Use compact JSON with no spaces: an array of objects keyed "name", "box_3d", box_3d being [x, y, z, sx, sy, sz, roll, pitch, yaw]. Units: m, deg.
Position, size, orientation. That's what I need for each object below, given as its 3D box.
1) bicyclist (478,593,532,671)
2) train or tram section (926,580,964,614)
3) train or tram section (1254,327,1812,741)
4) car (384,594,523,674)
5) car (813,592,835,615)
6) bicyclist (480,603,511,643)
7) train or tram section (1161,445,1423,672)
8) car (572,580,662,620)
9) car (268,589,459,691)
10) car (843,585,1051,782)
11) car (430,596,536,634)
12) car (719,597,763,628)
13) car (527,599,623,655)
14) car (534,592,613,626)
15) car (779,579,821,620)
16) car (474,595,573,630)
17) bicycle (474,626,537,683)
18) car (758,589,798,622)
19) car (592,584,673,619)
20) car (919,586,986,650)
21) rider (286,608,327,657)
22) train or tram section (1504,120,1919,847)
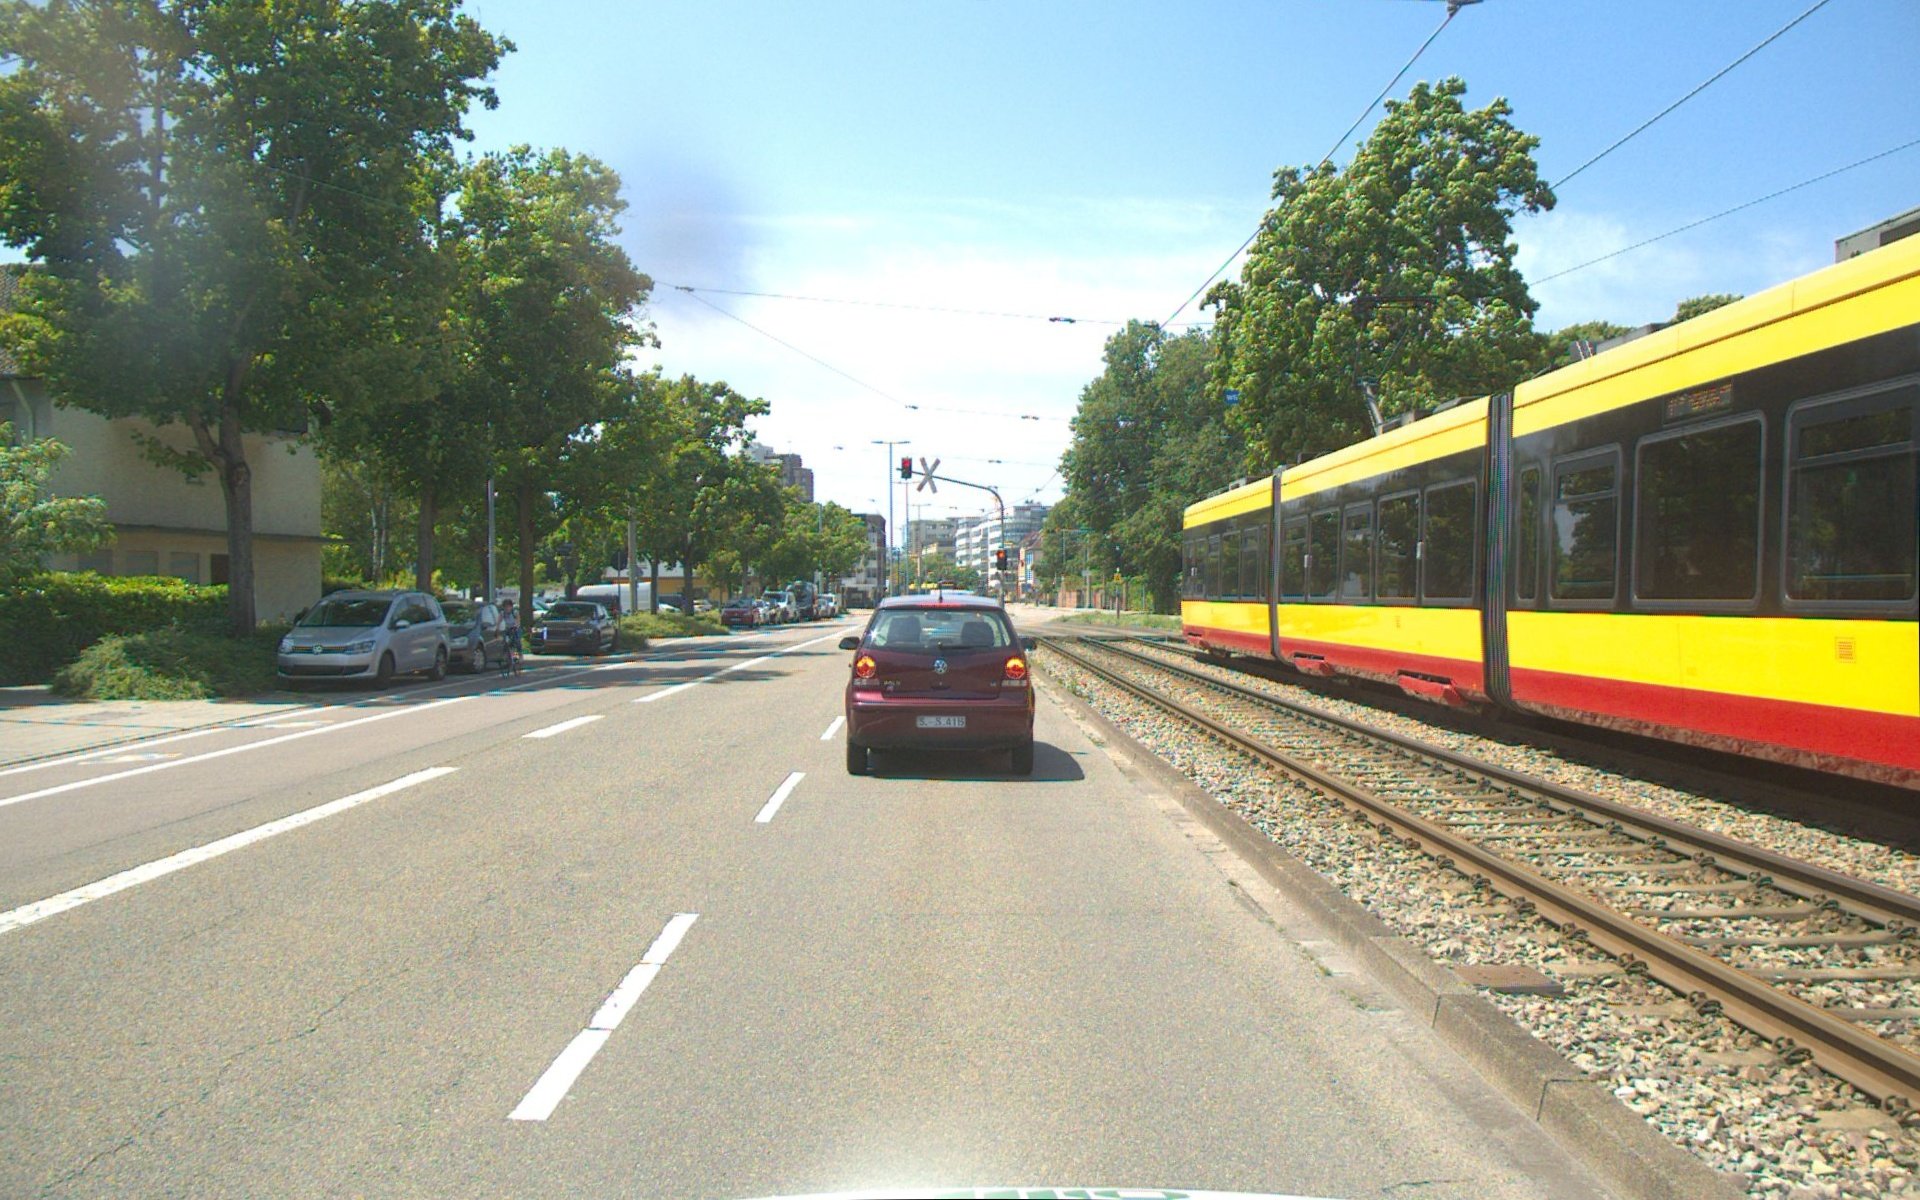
[{"name":"bicyclist","box_3d":[-8.919,0.626,32.462,0.720,1.455,1.124,-4,0,-4]},{"name":"train or tram section","box_3d":[-1.769,-0.408,187.862,2.689,3.672,12.848,1,0,-8]},{"name":"train or tram section","box_3d":[6.558,-0.655,22.119,2.966,3.864,13.090,-1,0,0]},{"name":"car","box_3d":[-10.840,0.681,35.691,1.782,1.592,4.180,1,0,-1]},{"name":"car","box_3d":[-11.394,0.331,138.103,1.741,1.860,3.995,1,-1,-6]},{"name":"bicyclist","box_3d":[-16.268,0.802,57.929,0.792,1.398,0.828,1,-1,2]},{"name":"train or tram section","box_3d":[6.489,-0.749,34.868,2.966,3.864,12.760,-1,0,0]},{"name":"car","box_3d":[-21.015,0.004,101.479,4.992,2.284,2.378,1,-1,0]},{"name":"car","box_3d":[-10.763,0.652,30.237,1.835,1.693,4.780,0,1,-1]},{"name":"car","box_3d":[-0.154,0.658,15.216,1.638,1.548,3.999,1,0,-2]},{"name":"car","box_3d":[-21.619,0.687,75.072,4.256,1.612,1.912,-1,0,-3]},{"name":"car","box_3d":[-11.247,0.627,84.990,1.628,1.523,4.000,1,-1,1]},{"name":"car","box_3d":[-10.936,0.733,47.244,1.782,1.502,4.448,1,0,-1]},{"name":"car","box_3d":[-21.228,0.486,90.921,3.907,1.776,1.998,-1,0,-2]},{"name":"car","box_3d":[-11.071,0.009,114.828,2.313,2.739,5.307,1,-1,0]},{"name":"car","box_3d":[-21.138,0.595,80.177,4.251,1.612,1.914,-1,0,5]},{"name":"bicycle","box_3d":[-8.901,1.052,32.469,0.688,0.967,2.242,-3,1,-3]},{"name":"car","box_3d":[-11.187,0.359,101.781,1.746,1.914,4.786,1,-1,2]},{"name":"car","box_3d":[-22.297,0.113,112.681,4.992,2.284,2.378,1,-1,0]},{"name":"car","box_3d":[-0.244,0.462,45.419,1.741,1.676,3.999,1,0,-2]},{"name":"rider","box_3d":[-18.954,0.931,47.973,0.808,1.398,0.812,-1,0,7]},{"name":"train or tram section","box_3d":[6.599,-0.632,9.153,2.966,3.864,13.090,-1,0,1]}]
